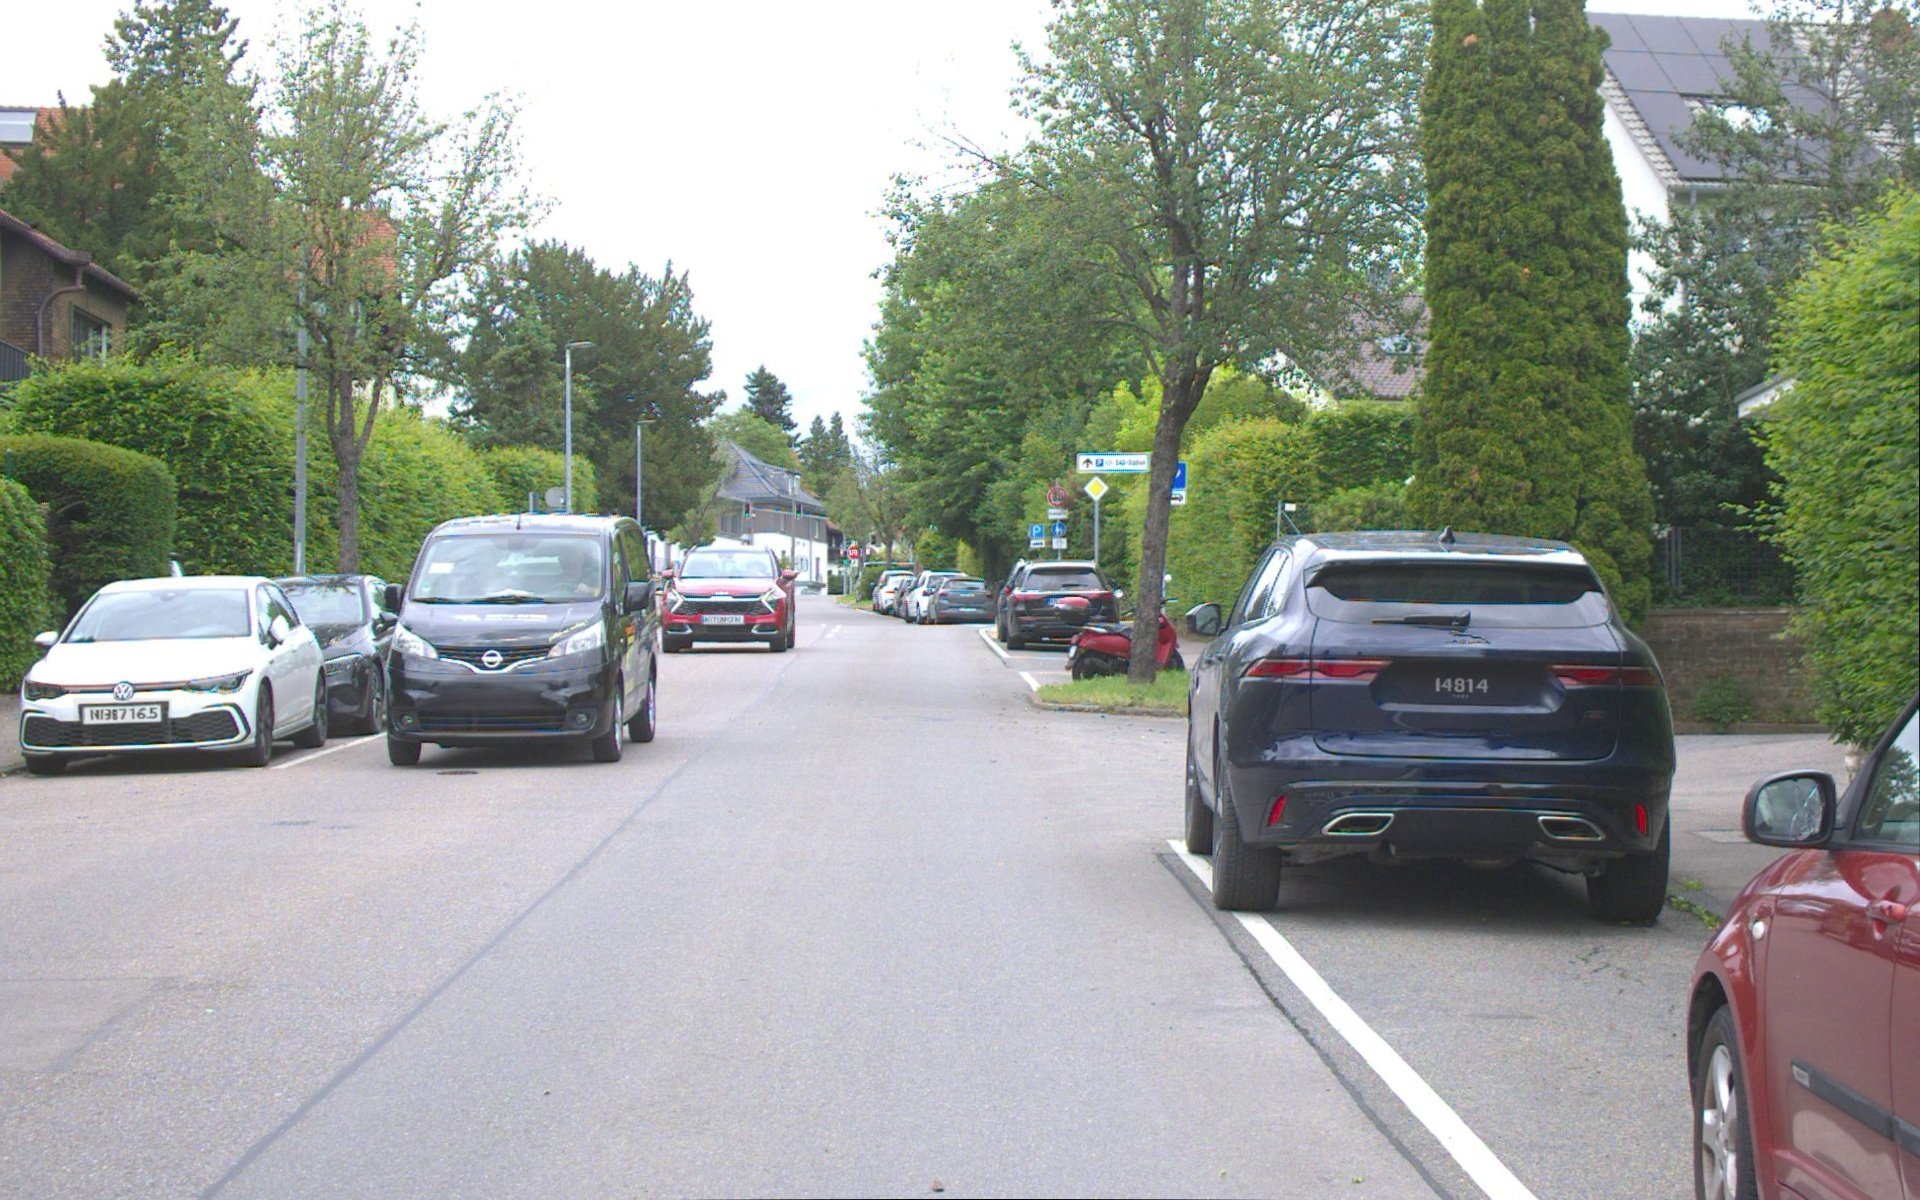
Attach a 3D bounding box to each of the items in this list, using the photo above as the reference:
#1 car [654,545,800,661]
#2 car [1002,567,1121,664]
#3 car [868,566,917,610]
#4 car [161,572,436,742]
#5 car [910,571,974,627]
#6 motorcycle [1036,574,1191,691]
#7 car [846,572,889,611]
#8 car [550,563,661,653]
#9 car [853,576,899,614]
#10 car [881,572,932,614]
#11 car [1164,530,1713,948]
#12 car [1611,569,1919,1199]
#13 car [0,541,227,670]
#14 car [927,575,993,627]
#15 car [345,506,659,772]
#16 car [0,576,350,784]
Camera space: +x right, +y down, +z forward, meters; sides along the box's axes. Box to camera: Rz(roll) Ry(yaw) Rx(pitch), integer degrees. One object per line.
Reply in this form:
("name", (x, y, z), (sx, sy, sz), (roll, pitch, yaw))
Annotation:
("car", (-3.528, 0.029, 52.757), (1.941, 1.641, 4.258), (-2, 0, -1))
("car", (1.683, 0.228, 58.369), (1.882, 1.528, 4.475), (1, 1, 0))
("car", (-2.628, -0.491, 133.109), (1.664, 1.662, 3.468), (0, 1, -5))
("car", (-5.998, 0.486, 31.605), (1.727, 1.418, 4.079), (-1, 0, 0))
("car", (-0.575, -0.045, 106.170), (1.713, 1.652, 3.623), (0, 1, -5))
("motorcycle", (1.823, 0.369, 40.750), (1.863, 1.342, 0.599), (-1, 1, -36))
("car", (-4.005, -0.385, 148.406), (1.643, 1.662, 3.468), (0, 1, -5))
("car", (-6.412, 0.127, 62.477), (1.630, 1.518, 3.638), (-2, 1, -1))
("car", (-3.461, -0.210, 140.939), (1.664, 1.496, 3.468), (0, 1, -5))
("car", (-1.983, -0.253, 126.370), (1.664, 1.496, 3.468), (0, 1, -5))
("car", (2.052, 0.550, 16.051), (1.993, 1.612, 4.513), (2, 0, 2))
("car", (2.362, 0.704, 6.105), (1.661, 1.503, 3.758), (0, 1, -1))
("car", (-11.721, 0.042, 44.513), (3.987, 1.528, 1.787), (2, 1, 4))
("car", (-0.022, 0.026, 101.732), (1.664, 1.496, 3.468), (0, 1, -5))
("car", (-3.423, 0.255, 26.442), (1.885, 1.844, 4.402), (-1, 1, -1))
("car", (-6.045, 0.557, 26.839), (1.837, 1.417, 4.408), (-2, 1, -1))
